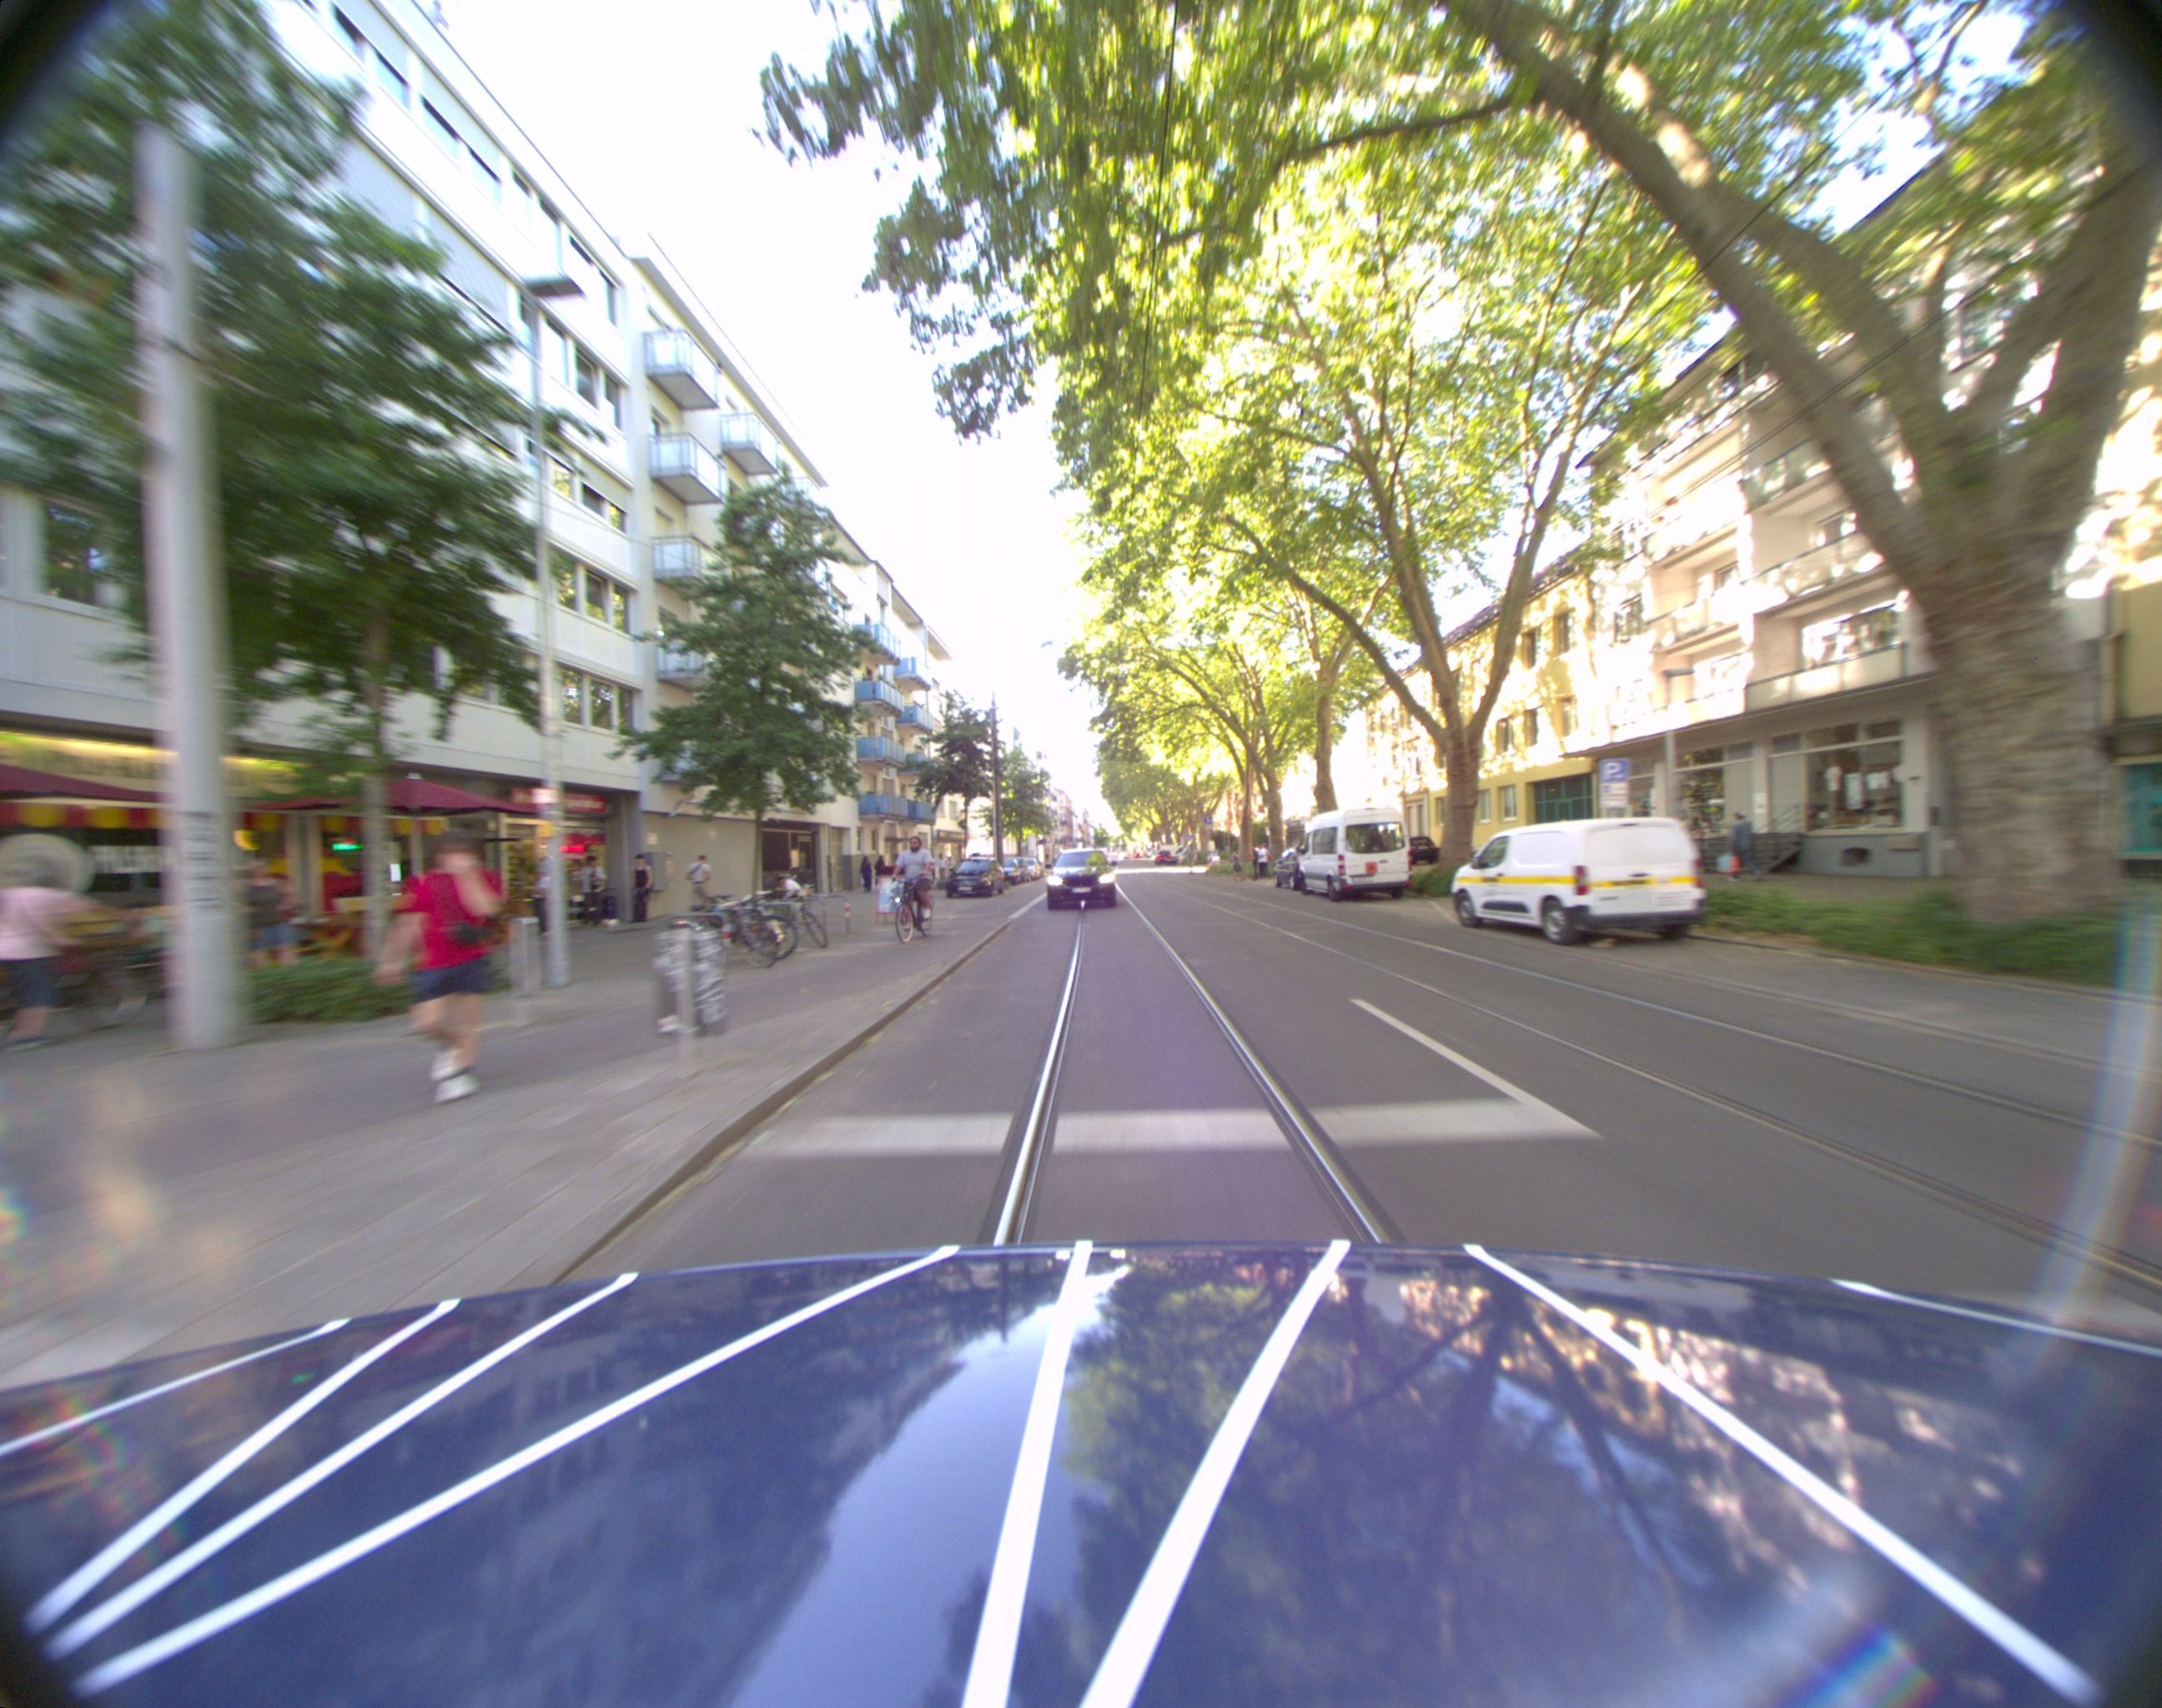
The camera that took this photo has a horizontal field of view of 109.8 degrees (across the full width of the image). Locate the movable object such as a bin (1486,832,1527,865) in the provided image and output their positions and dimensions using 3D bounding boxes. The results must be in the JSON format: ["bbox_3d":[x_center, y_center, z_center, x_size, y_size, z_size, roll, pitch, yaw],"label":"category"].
[{"bbox_3d":[20.587,-0.262,36.779,1.233,1.493,1.343,-3,1,2],"label":"movable object such as a bin"}]

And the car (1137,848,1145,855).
[{"bbox_3d":[15.228,-0.635,192.768,1.998,1.723,4.400,-3,1,3],"label":"car"}]

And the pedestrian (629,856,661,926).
[{"bbox_3d":[-11.291,0.945,19.694,0.432,1.786,0.489,-3,1,2],"label":"pedestrian"}]

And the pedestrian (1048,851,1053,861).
[{"bbox_3d":[-4.849,0.274,120.064,0.590,1.493,0.600,-3,1,3],"label":"pedestrian"}]

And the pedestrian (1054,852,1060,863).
[{"bbox_3d":[-3.817,0.537,120.446,0.697,1.685,0.678,-3,1,3],"label":"pedestrian"}]

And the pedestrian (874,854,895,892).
[{"bbox_3d":[-8.660,0.838,33.512,0.643,1.628,0.870,0,1,1],"label":"pedestrian"}]

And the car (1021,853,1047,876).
[{"bbox_3d":[-3.410,0.730,55.924,1.724,1.562,4.259,0,1,-1],"label":"car"}]

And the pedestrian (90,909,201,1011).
[{"bbox_3d":[-11.670,1.312,9.491,0.660,1.168,0.522,-3,1,1],"label":"pedestrian"}]

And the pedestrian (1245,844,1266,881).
[{"bbox_3d":[8.673,0.410,37.732,0.769,1.767,0.715,-2,1,25],"label":"pedestrian"}]

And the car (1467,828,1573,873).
[{"bbox_3d":[18.991,-0.197,33.187,1.998,1.723,4.898,-3,1,4],"label":"car"}]

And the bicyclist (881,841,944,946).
[{"bbox_3d":[-3.063,0.691,13.912,0.769,1.821,1.099,-3,1,3],"label":"bicyclist"}]

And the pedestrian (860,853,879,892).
[{"bbox_3d":[-9.320,0.813,33.515,0.597,1.668,0.934,0,1,1],"label":"pedestrian"}]

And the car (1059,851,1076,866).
[{"bbox_3d":[-1.862,0.610,104.761,1.957,1.914,4.000,-3,1,3],"label":"car"}]

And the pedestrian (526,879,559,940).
[{"bbox_3d":[-11.801,1.202,16.665,0.510,1.269,0.625,-4,2,-34],"label":"pedestrian"}]

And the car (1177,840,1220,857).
[{"bbox_3d":[15.138,-0.703,98.124,5.133,1.984,1.999,-3,1,-2],"label":"car"}]

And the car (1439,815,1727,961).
[{"bbox_3d":[7.644,0.421,12.188,1.767,1.840,4.318,-3,1,1],"label":"car"}]

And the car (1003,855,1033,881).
[{"bbox_3d":[-3.786,0.811,45.998,1.447,1.528,2.881,0,0,2],"label":"car"}]

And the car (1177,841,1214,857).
[{"bbox_3d":[13.107,-0.580,87.274,3.997,1.600,1.910,-3,-1,1],"label":"car"}]

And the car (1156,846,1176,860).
[{"bbox_3d":[9.886,-0.128,88.992,1.927,1.674,4.182,0,1,1],"label":"car"}]

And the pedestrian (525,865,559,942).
[{"bbox_3d":[-11.742,1.055,16.561,0.508,1.619,0.517,-4,2,-35],"label":"pedestrian"}]

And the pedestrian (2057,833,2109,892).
[{"bbox_3d":[19.176,0.158,14.538,0.421,1.099,0.437,-3,1,-7],"label":"pedestrian"}]

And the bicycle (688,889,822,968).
[{"bbox_3d":[-5.120,1.161,11.994,1.820,1.094,0.481,-3,1,-5],"label":"bicycle"}]

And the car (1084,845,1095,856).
[{"bbox_3d":[1.683,-0.652,154.884,1.990,2.085,4.470,-3,1,3],"label":"car"}]

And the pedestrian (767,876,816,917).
[{"bbox_3d":[-7.811,1.142,20.515,1.000,1.021,0.661,-3,1,11],"label":"pedestrian"}]

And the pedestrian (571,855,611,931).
[{"bbox_3d":[-11.951,0.946,18.547,0.633,1.795,0.525,-4,2,-44],"label":"pedestrian"}]

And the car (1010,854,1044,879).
[{"bbox_3d":[-3.509,0.783,49.984,1.790,1.528,4.128,0,0,2],"label":"car"}]

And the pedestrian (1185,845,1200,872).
[{"bbox_3d":[7.618,0.279,51.979,0.700,1.781,0.801,-3,1,-10],"label":"pedestrian"}]

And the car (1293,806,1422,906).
[{"bbox_3d":[8.164,0.010,23.120,2.112,2.562,6.025,-3,1,5],"label":"car"}]

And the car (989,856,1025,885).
[{"bbox_3d":[-4.041,0.867,41.970,1.626,1.473,3.889,0,0,0],"label":"car"}]

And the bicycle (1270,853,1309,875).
[{"bbox_3d":[10.836,0.508,39.482,1.847,1.073,0.570,-2,1,30],"label":"bicycle"}]

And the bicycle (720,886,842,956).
[{"bbox_3d":[-5.068,1.127,12.883,1.819,1.094,0.525,-2,1,2],"label":"bicycle"}]

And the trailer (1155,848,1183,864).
[{"bbox_3d":[9.597,0.221,83.519,2.452,1.622,6.583,0,1,1],"label":"trailer"}]

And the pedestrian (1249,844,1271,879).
[{"bbox_3d":[9.086,0.381,38.619,0.768,1.725,0.715,-2,2,44],"label":"pedestrian"}]

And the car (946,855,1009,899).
[{"bbox_3d":[-4.141,0.859,31.032,1.763,1.578,4.329,1,1,3],"label":"car"}]

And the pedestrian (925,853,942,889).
[{"bbox_3d":[-7.585,0.868,39.075,0.663,1.841,0.539,-2,1,2],"label":"pedestrian"}]

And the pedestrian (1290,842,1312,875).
[{"bbox_3d":[11.175,0.227,38.565,0.768,1.600,0.715,-2,2,44],"label":"pedestrian"}]

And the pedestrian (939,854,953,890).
[{"bbox_3d":[-6.927,0.907,38.987,0.477,1.841,0.664,-2,1,0],"label":"pedestrian"}]

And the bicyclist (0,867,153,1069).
[{"bbox_3d":[-9.619,1.009,7.055,0.678,1.707,0.965,-3,1,5],"label":"bicyclist"}]

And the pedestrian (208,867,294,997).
[{"bbox_3d":[-11.260,1.020,10.338,0.812,1.649,0.680,-2,2,45],"label":"pedestrian"}]

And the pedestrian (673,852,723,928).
[{"bbox_3d":[-9.424,0.860,18.737,0.592,1.774,0.995,-3,1,2],"label":"pedestrian"}]

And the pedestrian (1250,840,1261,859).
[{"bbox_3d":[16.538,-0.459,71.917,0.724,1.770,0.669,-3,2,-6],"label":"pedestrian"}]

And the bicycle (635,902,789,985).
[{"bbox_3d":[-5.027,1.210,10.408,1.820,0.988,0.481,-3,1,1],"label":"bicycle"}]

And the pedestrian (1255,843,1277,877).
[{"bbox_3d":[9.538,0.303,39.086,0.768,1.725,0.718,-2,2,44],"label":"pedestrian"}]

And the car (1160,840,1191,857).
[{"bbox_3d":[15.156,-0.895,121.492,4.660,2.518,2.000,-3,1,3],"label":"car"}]

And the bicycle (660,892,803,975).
[{"bbox_3d":[-5.202,1.174,11.379,1.820,1.094,0.497,-3,1,-5],"label":"bicycle"}]

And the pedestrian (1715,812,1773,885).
[{"bbox_3d":[17.539,-0.153,20.119,0.746,1.859,0.864,-3,1,1],"label":"pedestrian"}]

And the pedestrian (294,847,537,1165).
[{"bbox_3d":[-4.200,0.860,4.920,0.879,1.748,1.045,-4,1,-29],"label":"pedestrian"}]

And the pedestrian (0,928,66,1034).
[{"bbox_3d":[-11.773,1.381,8.280,0.643,1.072,0.522,-3,1,1],"label":"pedestrian"}]

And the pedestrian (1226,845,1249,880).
[{"bbox_3d":[8.030,0.422,38.991,0.772,1.725,0.712,-4,2,-33],"label":"pedestrian"}]

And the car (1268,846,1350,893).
[{"bbox_3d":[8.591,0.513,28.976,1.921,1.553,4.284,-3,1,2],"label":"car"}]

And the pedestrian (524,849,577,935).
[{"bbox_3d":[-12.482,0.875,17.900,0.507,1.943,0.793,-3,1,12],"label":"pedestrian"}]

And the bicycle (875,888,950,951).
[{"bbox_3d":[-3.041,1.160,13.900,0.790,0.932,1.939,-3,1,3],"label":"bicycle"}]

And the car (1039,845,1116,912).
[{"bbox_3d":[0.014,0.657,23.148,1.998,1.723,4.400,-3,1,3],"label":"car"}]

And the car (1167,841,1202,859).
[{"bbox_3d":[14.557,-0.519,106.809,4.660,2.293,2.000,-3,1,3],"label":"car"}]

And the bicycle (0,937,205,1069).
[{"bbox_3d":[-9.612,1.376,6.952,0.678,0.957,2.022,-3,1,5],"label":"bicycle"}]
